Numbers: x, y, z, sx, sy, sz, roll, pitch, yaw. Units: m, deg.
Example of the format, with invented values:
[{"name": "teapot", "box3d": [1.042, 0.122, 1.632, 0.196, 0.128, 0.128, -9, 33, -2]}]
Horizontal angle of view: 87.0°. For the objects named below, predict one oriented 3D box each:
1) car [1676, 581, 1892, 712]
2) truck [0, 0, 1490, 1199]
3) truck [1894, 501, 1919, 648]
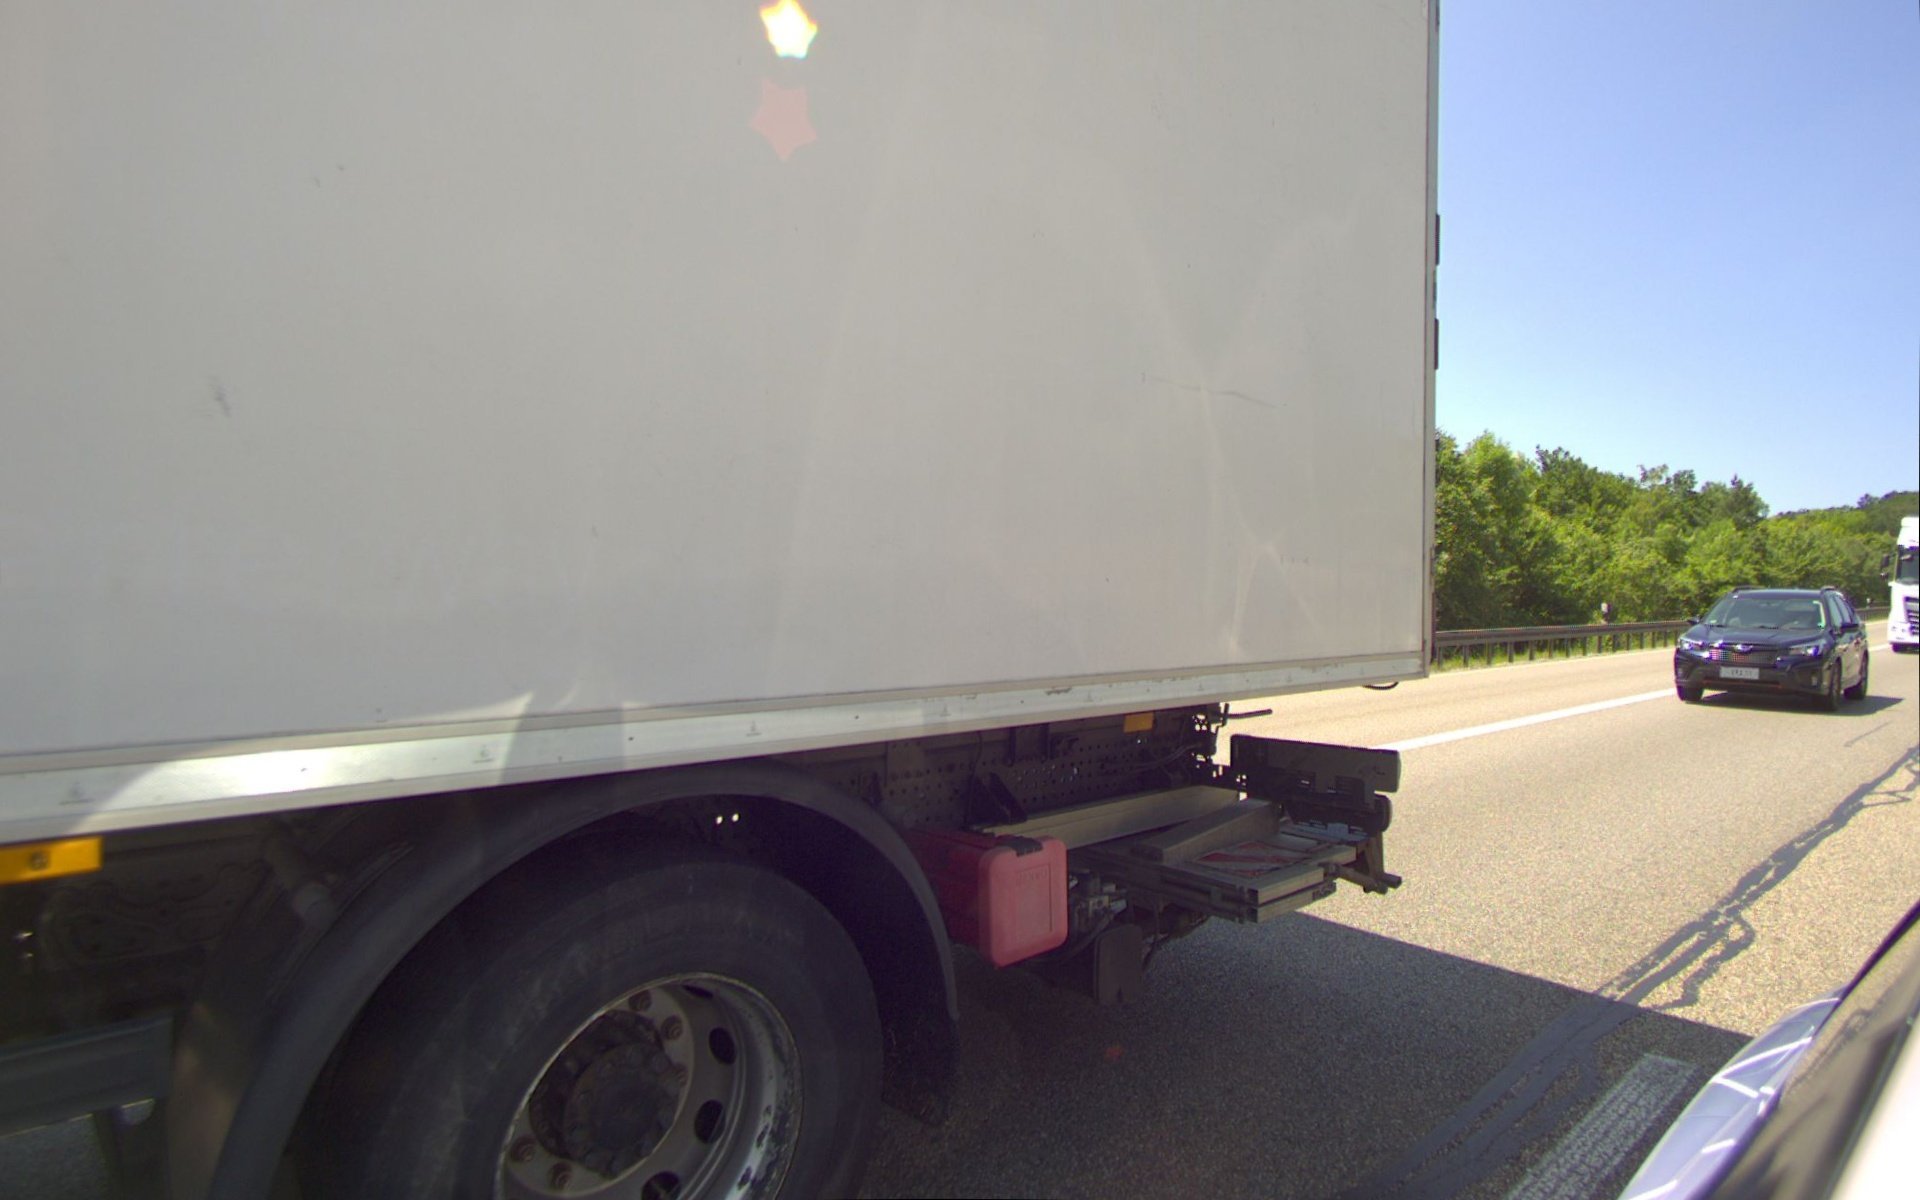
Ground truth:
[{"name": "car", "box3d": [12.380, 0.577, 15.120, 4.130, 1.688, 1.815, 0, 1, -41]}, {"name": "truck", "box3d": [-2.697, -0.632, 1.419, 9.610, 3.922, 2.694, 0, 4, -41]}, {"name": "truck", "box3d": [34.055, -0.751, 33.546, 15.983, 4.221, 2.788, 0, 1, -41]}]
